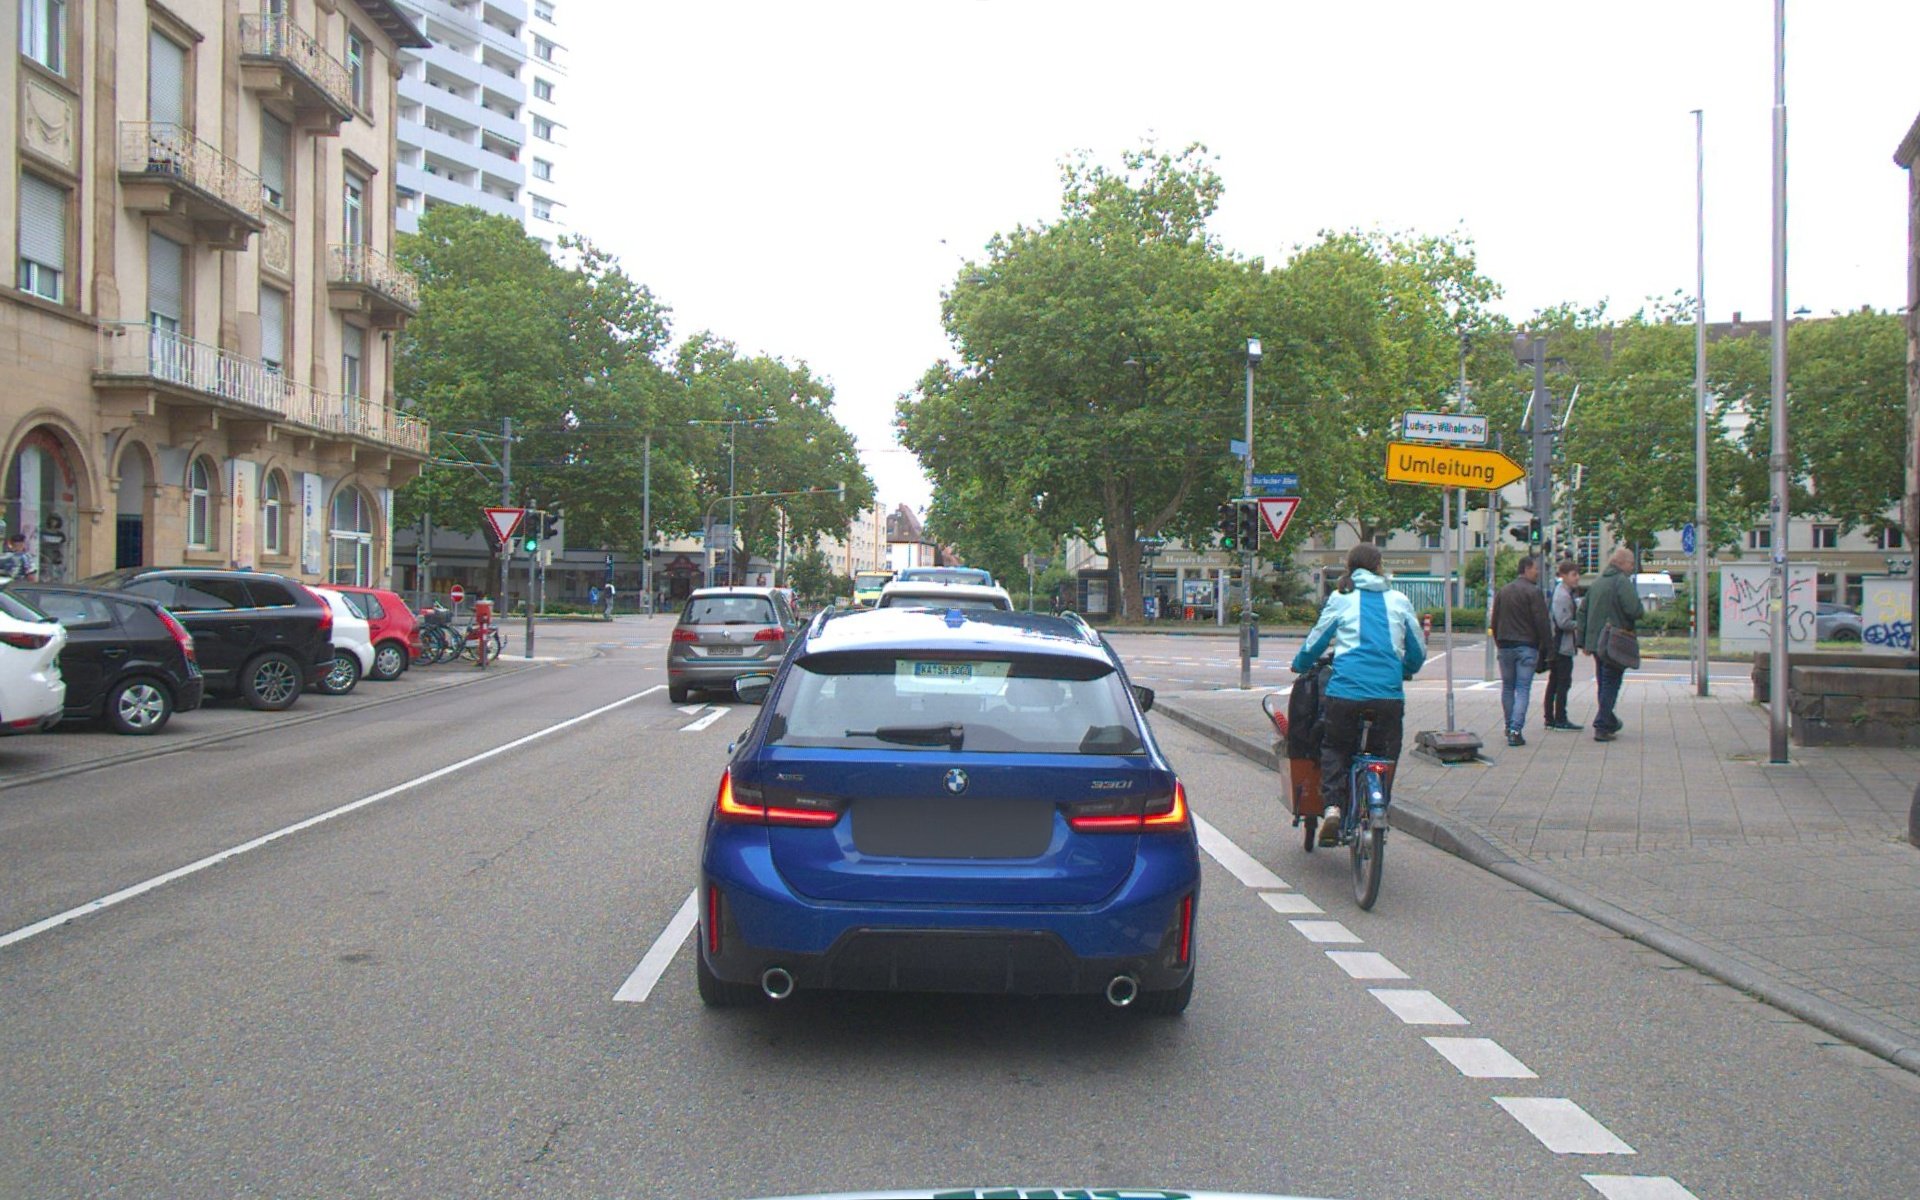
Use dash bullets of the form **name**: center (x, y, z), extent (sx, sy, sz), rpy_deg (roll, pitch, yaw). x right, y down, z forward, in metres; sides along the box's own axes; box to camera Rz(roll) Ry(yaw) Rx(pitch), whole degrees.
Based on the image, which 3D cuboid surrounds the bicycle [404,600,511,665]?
- **bicycle**: center (-9.777, 0.623, 32.198), extent (1.849, 1.053, 0.442), rpy_deg (6, 0, -3)

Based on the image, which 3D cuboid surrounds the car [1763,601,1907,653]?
- **car**: center (28.005, 0.846, 53.059), extent (3.895, 1.589, 1.687), rpy_deg (0, 0, 22)

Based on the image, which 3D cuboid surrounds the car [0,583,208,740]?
- **car**: center (-9.900, 0.586, 16.653), extent (3.959, 1.521, 1.708), rpy_deg (1, 0, -39)

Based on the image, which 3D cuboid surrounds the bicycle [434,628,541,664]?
- **bicycle**: center (-9.474, 0.923, 33.243), extent (1.849, 0.453, 1.028), rpy_deg (6, 2, -3)

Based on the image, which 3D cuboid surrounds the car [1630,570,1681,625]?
- **car**: center (35.007, -0.131, 83.178), extent (2.191, 2.685, 5.443), rpy_deg (1, 0, 25)

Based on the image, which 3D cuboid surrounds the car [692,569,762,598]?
- **car**: center (-14.822, -1.061, 105.270), extent (3.953, 1.736, 1.976), rpy_deg (1, 0, -35)

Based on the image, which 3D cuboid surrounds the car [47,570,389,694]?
- **car**: center (-10.097, 0.471, 22.692), extent (3.968, 1.498, 1.540), rpy_deg (3, 0, -44)

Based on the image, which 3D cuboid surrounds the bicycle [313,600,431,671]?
- **bicycle**: center (-10.300, 0.615, 28.993), extent (1.848, 1.053, 0.442), rpy_deg (5, 0, 2)

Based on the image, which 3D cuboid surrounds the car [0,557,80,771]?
- **car**: center (-9.596, 0.486, 13.700), extent (3.937, 1.754, 1.826), rpy_deg (1, 0, -26)

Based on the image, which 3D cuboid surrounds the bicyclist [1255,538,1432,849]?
- **bicyclist**: center (2.002, 0.460, 8.752), extent (0.672, 1.544, 1.058), rpy_deg (0, 0, -1)

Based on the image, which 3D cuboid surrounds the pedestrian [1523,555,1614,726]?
- **pedestrian**: center (6.305, 0.403, 17.162), extent (0.619, 1.702, 0.970), rpy_deg (-2, 0, 6)

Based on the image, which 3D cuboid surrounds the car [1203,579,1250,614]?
- **car**: center (17.513, -0.200, 108.429), extent (2.130, 2.239, 3.999), rpy_deg (0, 0, 23)

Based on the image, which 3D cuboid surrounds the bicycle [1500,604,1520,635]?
- **bicycle**: center (18.724, 0.656, 56.241), extent (0.540, 1.013, 2.061), rpy_deg (0, 0, 21)

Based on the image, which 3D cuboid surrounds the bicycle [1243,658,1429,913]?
- **bicycle**: center (1.971, 0.921, 8.941), extent (0.484, 1.117, 2.138), rpy_deg (0, 0, -1)

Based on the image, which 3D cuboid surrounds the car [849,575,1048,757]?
- **car**: center (-0.134, 0.580, 16.847), extent (1.778, 1.620, 3.999), rpy_deg (0, 0, -1)

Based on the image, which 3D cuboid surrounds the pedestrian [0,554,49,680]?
- **pedestrian**: center (-13.825, 0.244, 24.294), extent (0.555, 1.816, 0.551), rpy_deg (0, 0, 0)

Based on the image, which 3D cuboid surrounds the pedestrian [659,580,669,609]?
- **pedestrian**: center (-17.872, -0.334, 99.885), extent (0.561, 1.802, 0.513), rpy_deg (0, 0, -13)

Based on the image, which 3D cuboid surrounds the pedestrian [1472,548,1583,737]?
- **pedestrian**: center (5.349, 0.383, 15.627), extent (0.660, 1.715, 0.969), rpy_deg (-2, 0, -1)

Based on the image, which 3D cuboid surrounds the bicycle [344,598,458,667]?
- **bicycle**: center (-10.247, 0.593, 30.346), extent (1.849, 1.053, 0.442), rpy_deg (6, 0, -3)

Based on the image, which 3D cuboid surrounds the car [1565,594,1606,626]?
- **car**: center (30.846, 0.485, 81.501), extent (1.632, 1.542, 3.935), rpy_deg (1, 0, 25)

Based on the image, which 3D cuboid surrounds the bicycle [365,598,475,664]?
- **bicycle**: center (-10.320, 0.582, 31.642), extent (1.849, 1.053, 0.442), rpy_deg (6, 0, -3)

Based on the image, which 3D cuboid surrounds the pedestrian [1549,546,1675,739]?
- **pedestrian**: center (6.309, 0.398, 16.049), extent (0.788, 1.789, 0.969), rpy_deg (-2, 0, -1)

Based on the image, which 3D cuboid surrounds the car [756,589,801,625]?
- **car**: center (-7.809, 0.285, 71.374), extent (1.615, 1.472, 3.510), rpy_deg (0, 0, -1)

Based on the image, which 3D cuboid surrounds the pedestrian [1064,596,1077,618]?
- **pedestrian**: center (6.949, 0.448, 104.078), extent (0.801, 1.396, 0.762), rpy_deg (0, 0, -1)

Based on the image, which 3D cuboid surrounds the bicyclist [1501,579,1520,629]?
- **bicyclist**: center (18.717, 0.140, 56.244), extent (0.601, 1.683, 0.754), rpy_deg (0, 0, 20)

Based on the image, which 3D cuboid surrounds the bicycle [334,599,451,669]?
- **bicycle**: center (-10.225, 0.613, 29.810), extent (1.849, 1.053, 0.442), rpy_deg (6, 0, -3)

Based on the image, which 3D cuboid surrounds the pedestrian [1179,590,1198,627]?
- **pedestrian**: center (11.237, 0.420, 81.219), extent (0.768, 1.774, 0.925), rpy_deg (0, 0, -2)

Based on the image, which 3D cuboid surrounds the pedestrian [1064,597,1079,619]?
- **pedestrian**: center (6.965, 0.480, 103.215), extent (0.835, 1.337, 0.762), rpy_deg (0, 0, -1)

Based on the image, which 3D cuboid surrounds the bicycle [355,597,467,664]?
- **bicycle**: center (-10.275, 0.568, 31.007), extent (1.849, 1.053, 0.442), rpy_deg (6, 0, -3)

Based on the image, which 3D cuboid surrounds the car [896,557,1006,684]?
- **car**: center (-0.170, 0.317, 28.800), extent (1.778, 2.040, 3.999), rpy_deg (0, 0, -1)

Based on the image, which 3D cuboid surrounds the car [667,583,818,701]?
- **car**: center (-3.049, 0.544, 23.904), extent (1.697, 1.551, 3.999), rpy_deg (0, 0, -1)

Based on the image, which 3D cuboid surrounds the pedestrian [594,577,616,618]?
- **pedestrian**: center (-15.693, -0.113, 73.095), extent (0.664, 1.802, 0.722), rpy_deg (0, 0, 41)

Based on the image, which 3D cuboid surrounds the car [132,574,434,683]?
- **car**: center (-10.359, 0.440, 25.516), extent (1.653, 1.498, 3.978), rpy_deg (3, 1, 40)

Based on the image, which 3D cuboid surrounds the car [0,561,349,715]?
- **car**: center (-9.787, 0.433, 19.981), extent (4.192, 1.680, 1.704), rpy_deg (1, 0, -44)

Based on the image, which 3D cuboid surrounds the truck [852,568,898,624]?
- **truck**: center (-3.888, -0.199, 76.063), extent (2.033, 2.450, 5.460), rpy_deg (0, 1, -3)

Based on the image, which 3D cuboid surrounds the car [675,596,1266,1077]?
- **car**: center (0.005, 0.711, 7.161), extent (1.778, 1.430, 4.319), rpy_deg (0, 0, -1)
